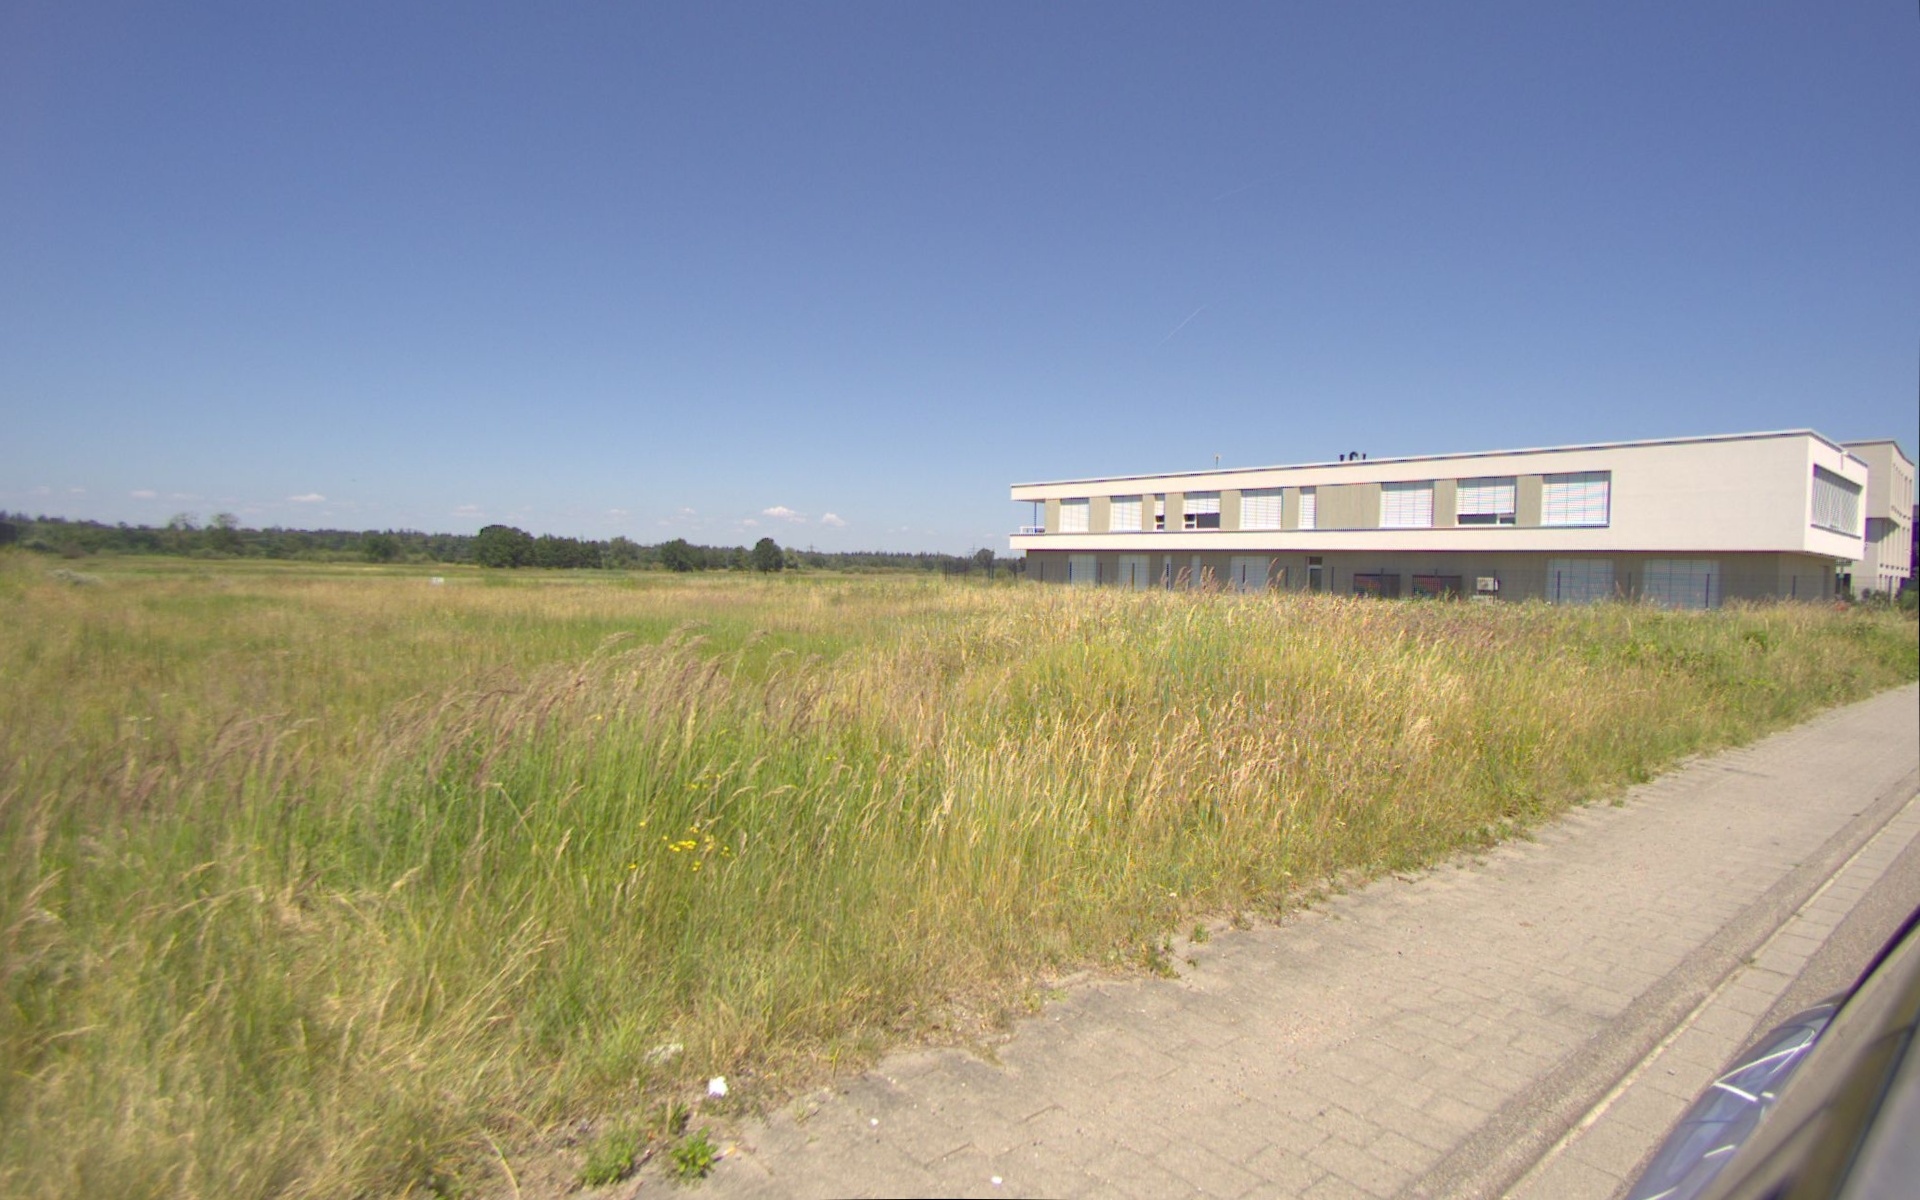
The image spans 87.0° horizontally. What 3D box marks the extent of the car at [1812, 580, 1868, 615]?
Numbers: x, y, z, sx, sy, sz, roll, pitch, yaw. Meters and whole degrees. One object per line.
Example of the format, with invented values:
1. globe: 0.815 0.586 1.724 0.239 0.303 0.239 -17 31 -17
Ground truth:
1. car: 42.790 -0.092 49.197 4.010 1.577 1.670 1 1 -44
